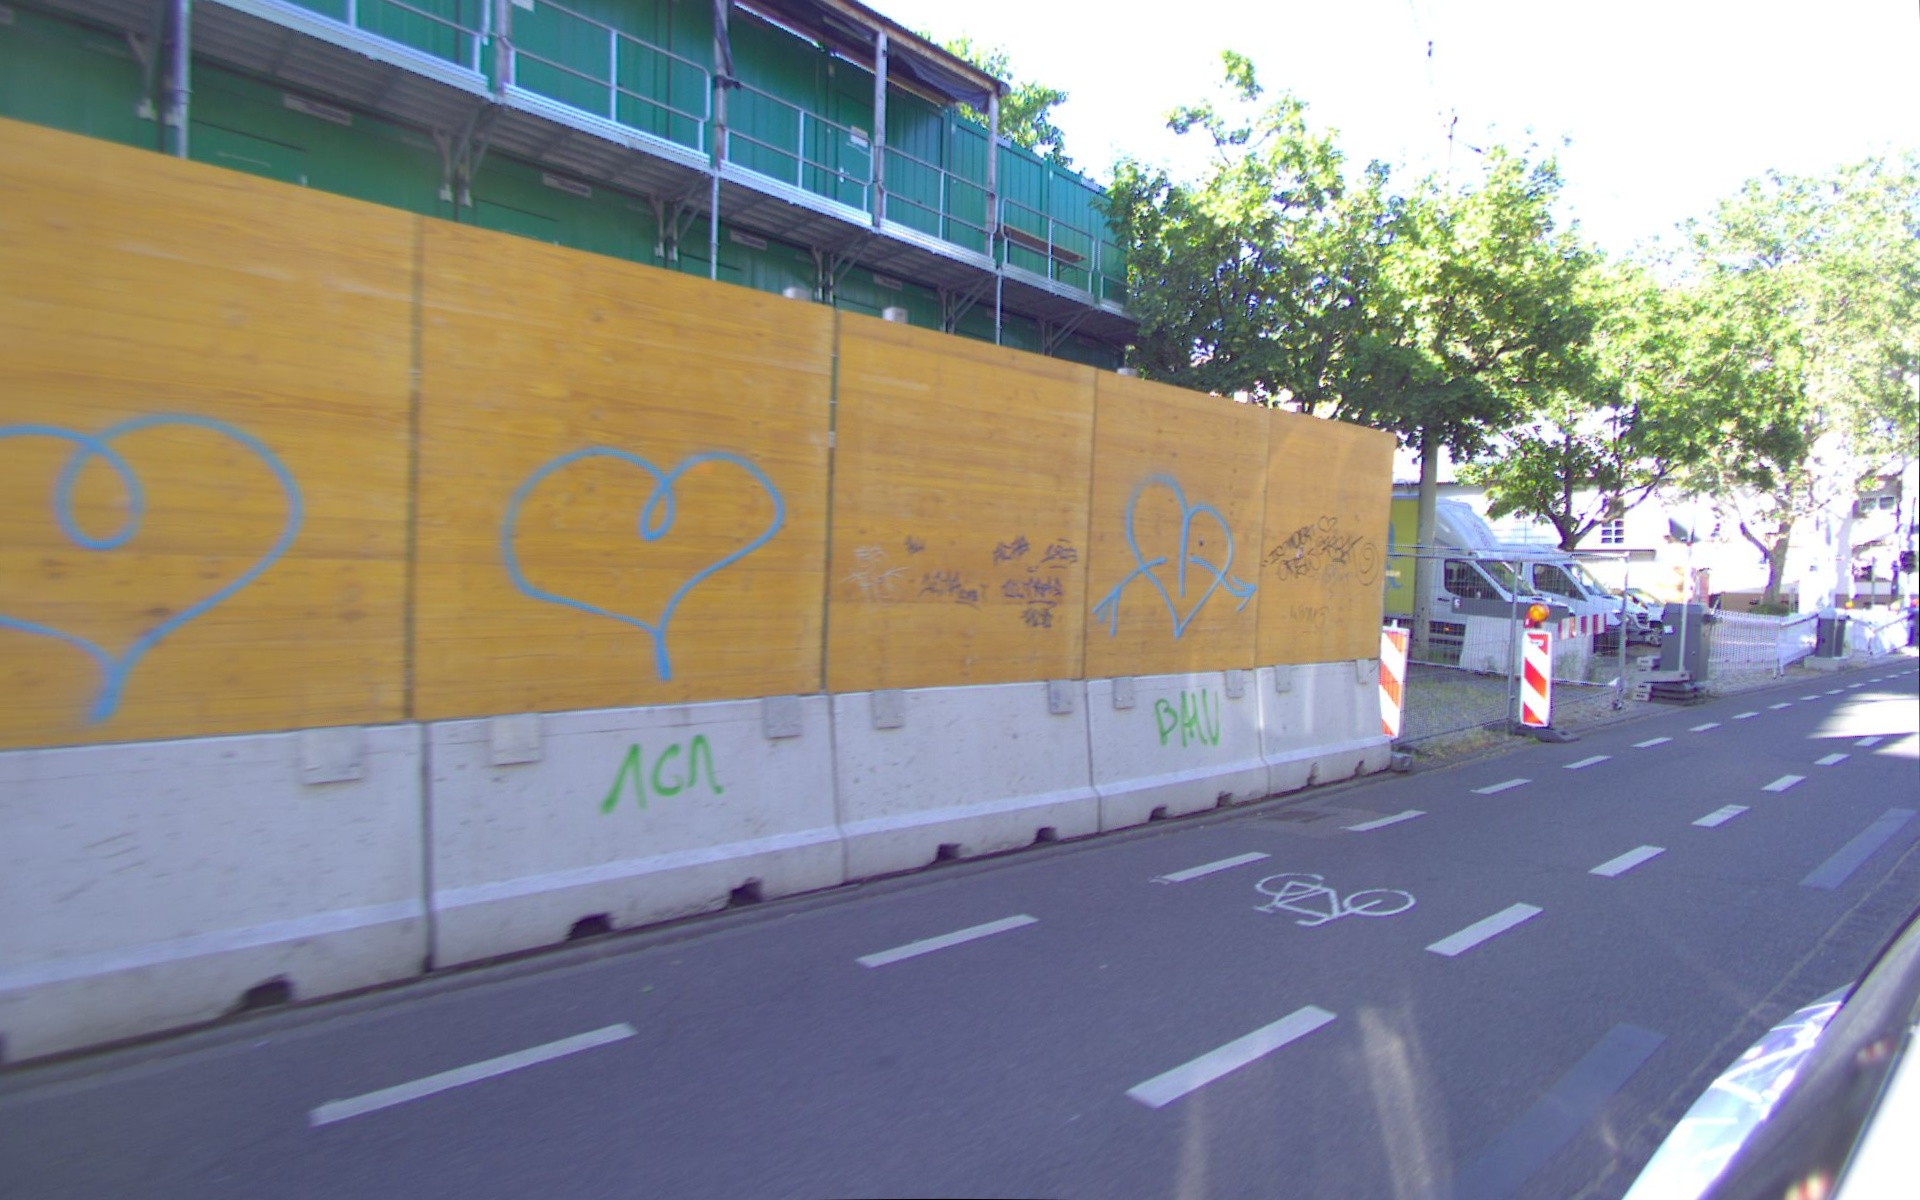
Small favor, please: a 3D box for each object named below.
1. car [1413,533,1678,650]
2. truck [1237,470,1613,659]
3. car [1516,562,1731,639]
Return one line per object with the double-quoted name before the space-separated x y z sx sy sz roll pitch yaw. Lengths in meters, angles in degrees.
"car" 14.391 -0.293 25.189 1.978 2.594 5.334 -1 2 -40
"truck" 9.714 -0.776 21.957 2.329 3.460 7.090 -1 2 -40
"car" 19.011 -0.019 29.221 1.962 2.035 4.799 0 1 -35
